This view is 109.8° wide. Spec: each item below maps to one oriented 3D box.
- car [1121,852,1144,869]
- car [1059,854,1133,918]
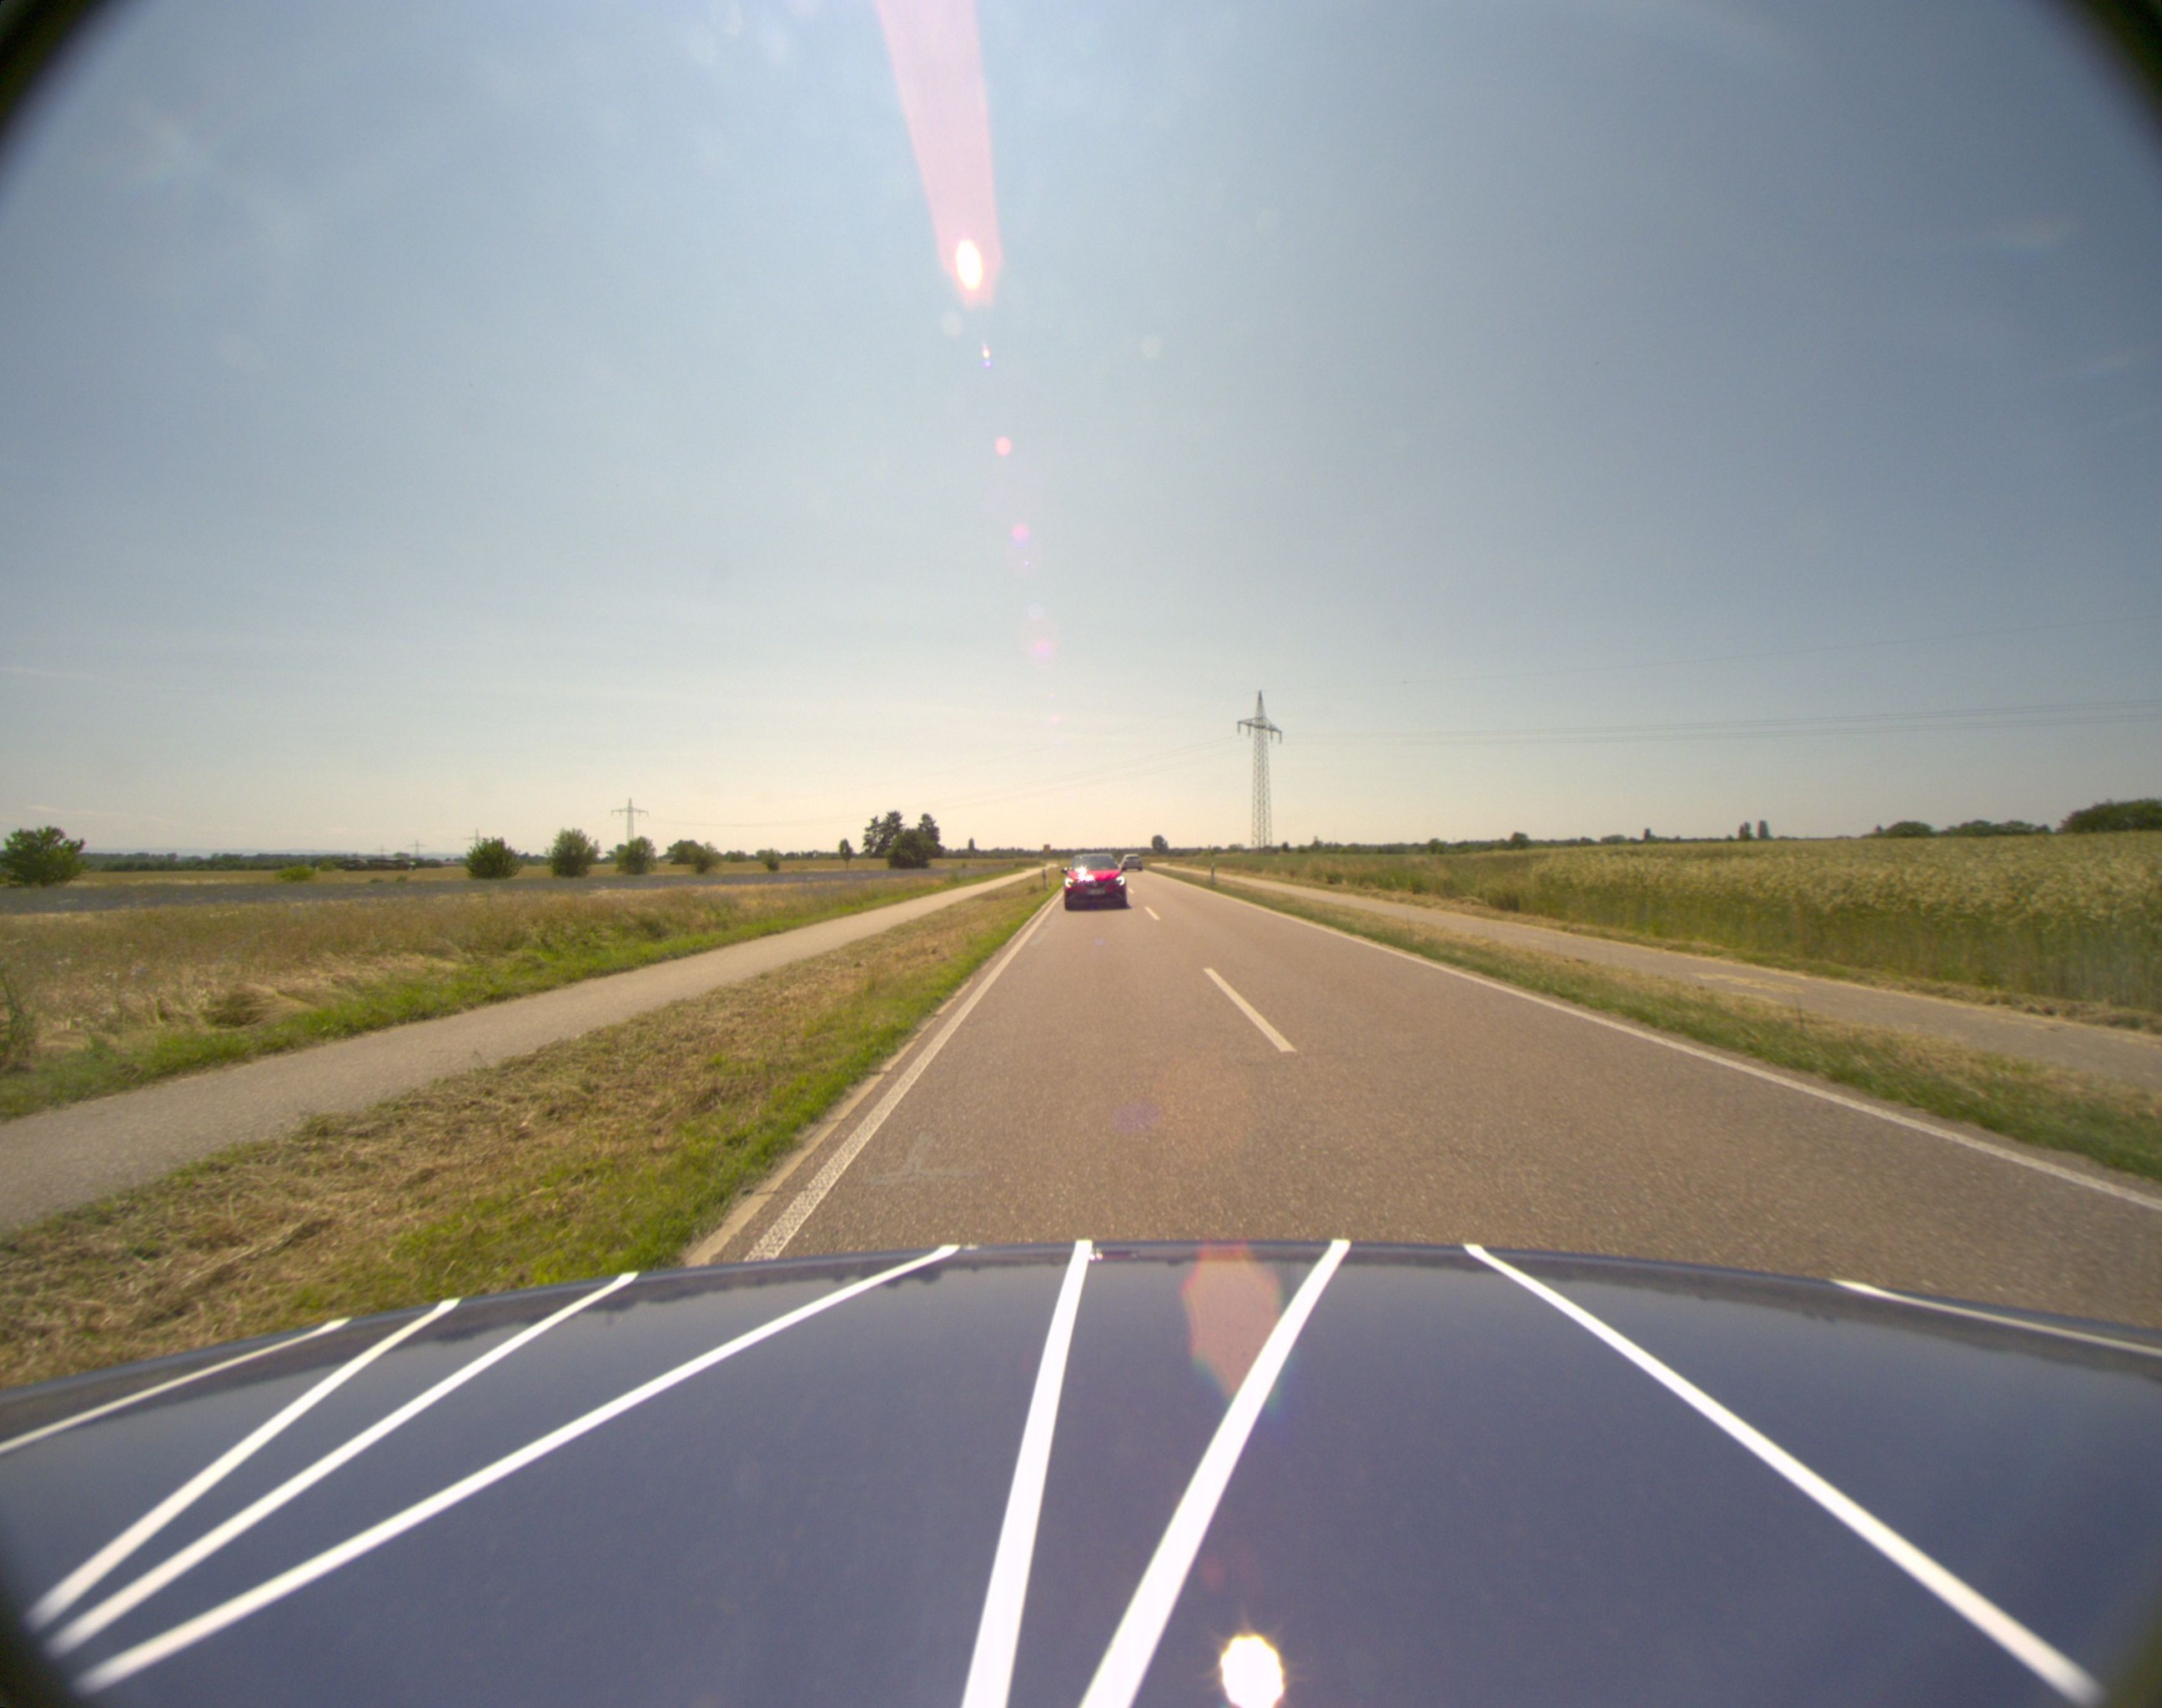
[{"bbox_3d":[4.444,0.532,65.730,1.752,1.392,4.032,-2,1,1],"label":"car"},{"bbox_3d":[0.409,0.820,21.672,1.826,1.543,4.449,-2,0,1],"label":"car"}]
